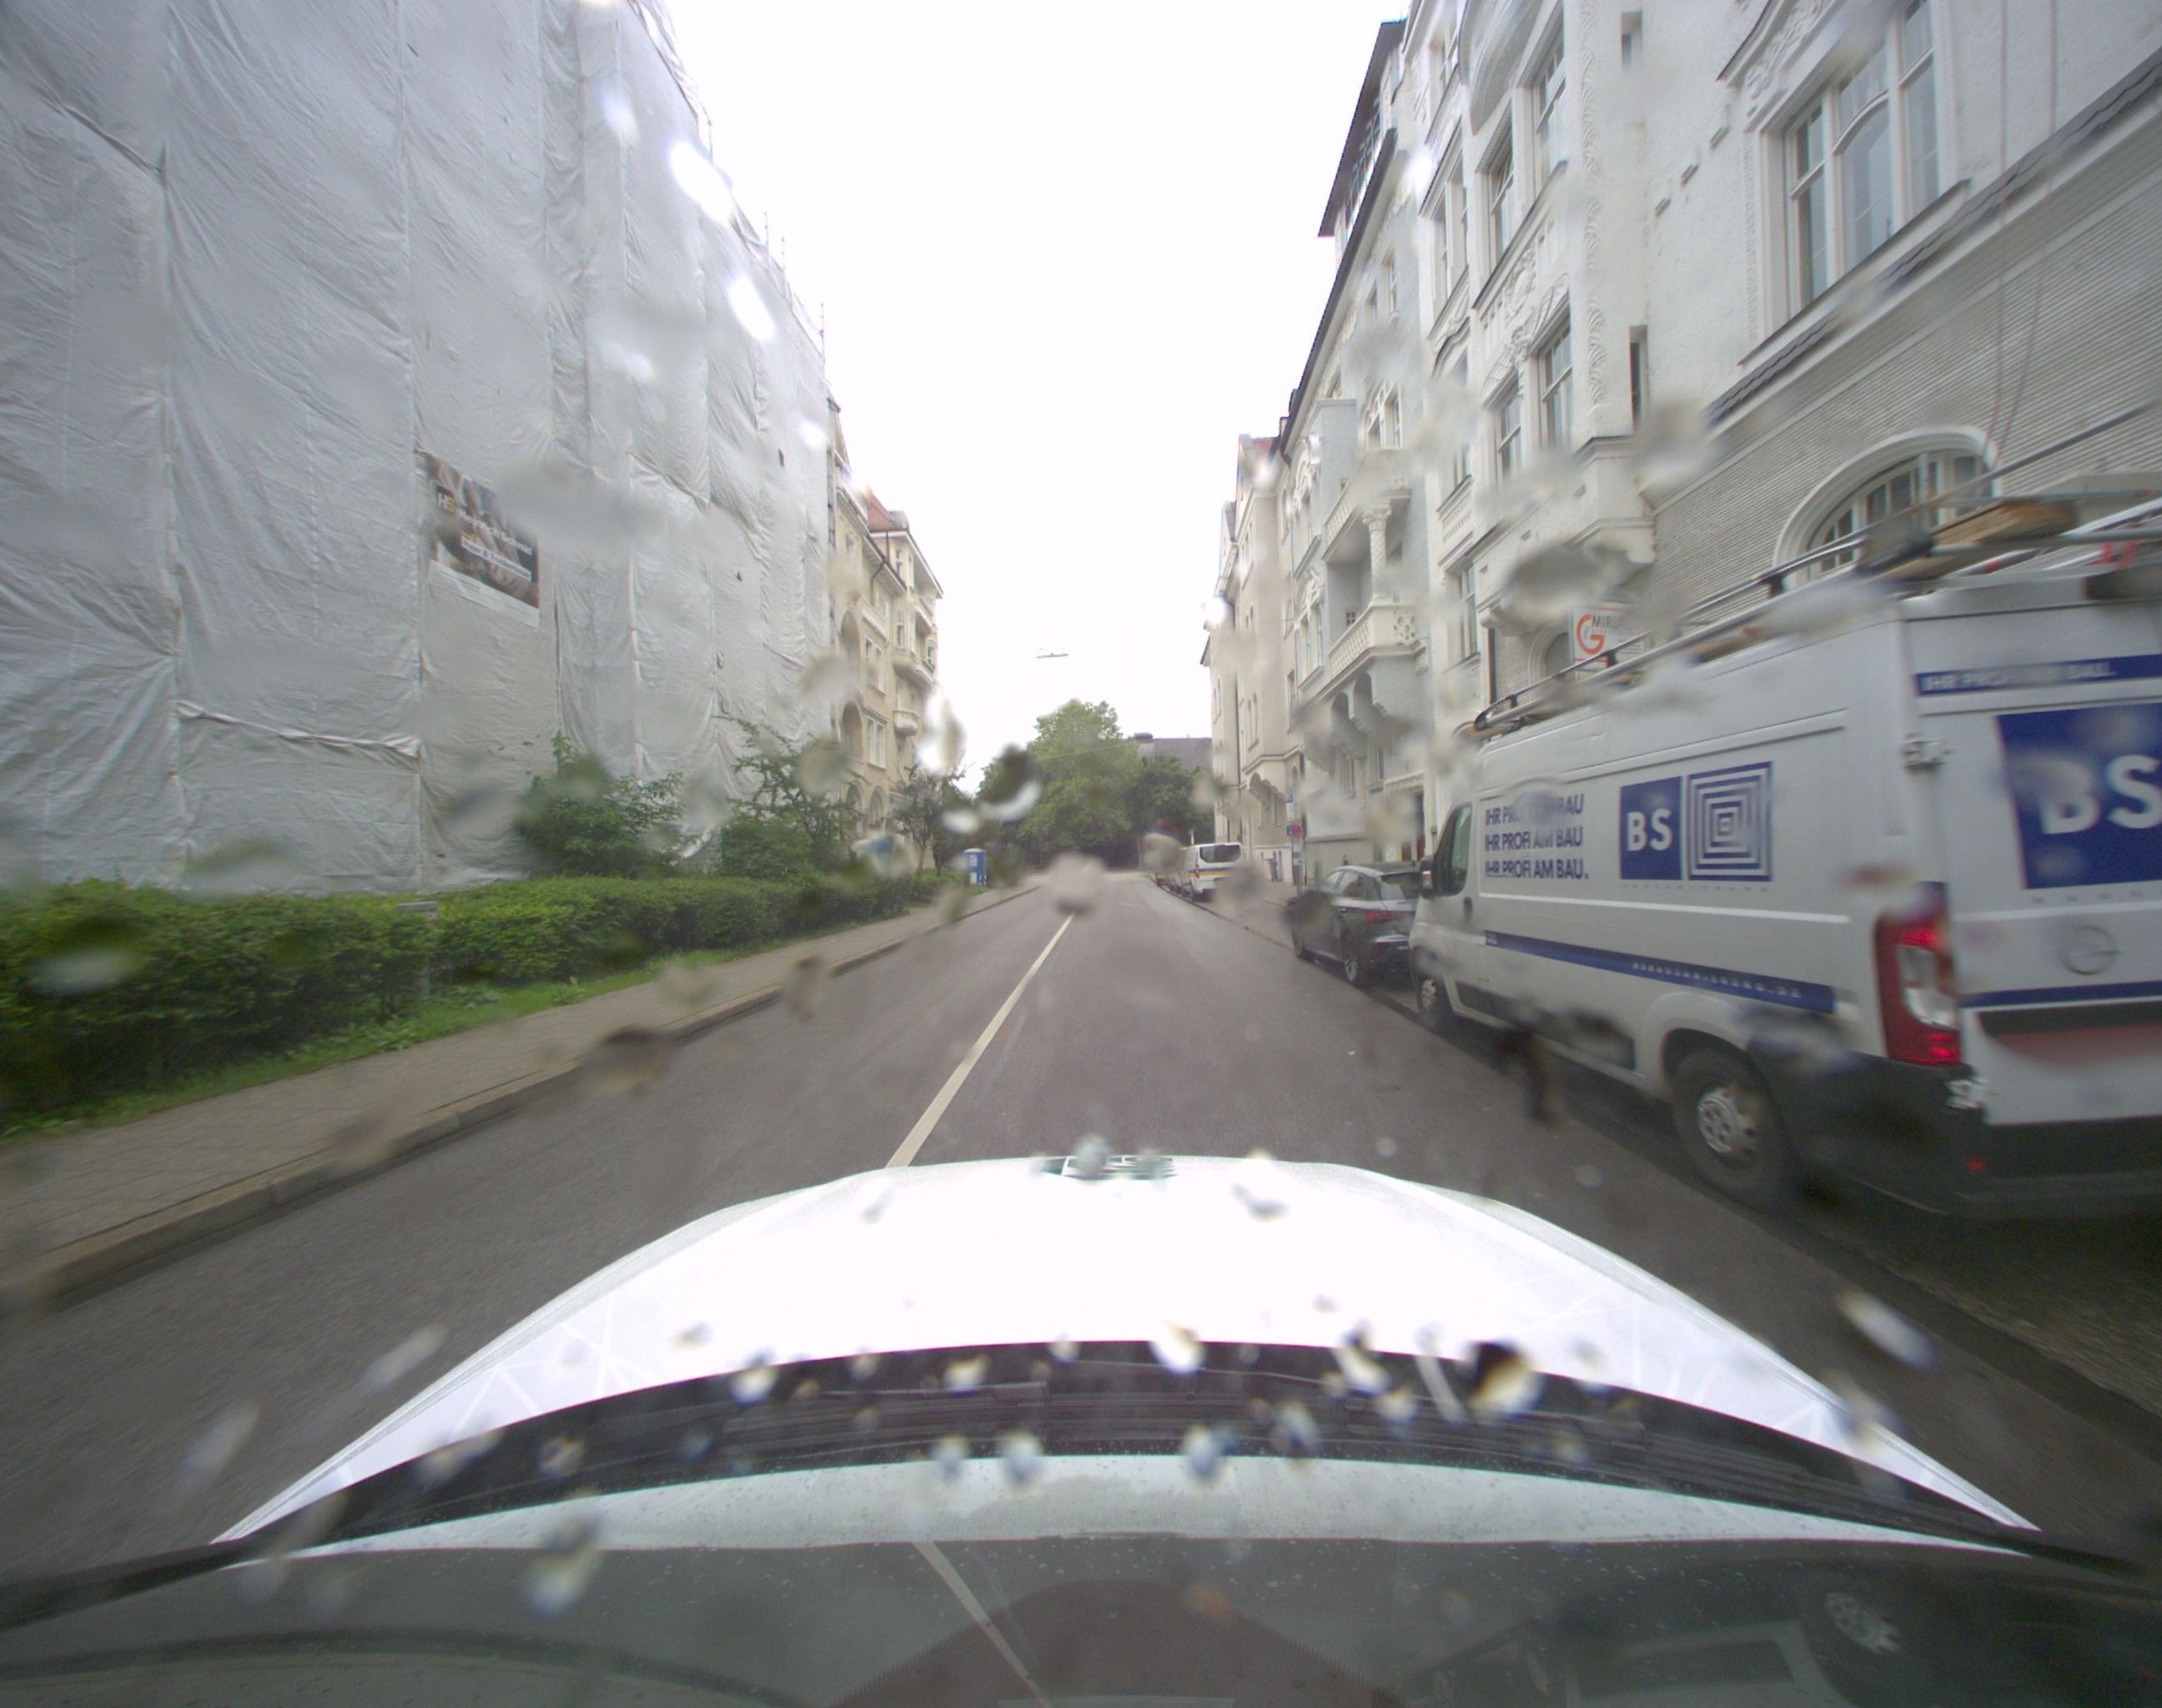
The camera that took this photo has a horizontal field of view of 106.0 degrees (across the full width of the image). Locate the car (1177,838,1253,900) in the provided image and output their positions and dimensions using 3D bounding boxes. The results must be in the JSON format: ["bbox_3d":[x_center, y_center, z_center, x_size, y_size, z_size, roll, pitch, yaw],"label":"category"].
[{"bbox_3d":[4.814,0.523,29.992,1.953,2.013,4.993,-2,0,1],"label":"car"}]

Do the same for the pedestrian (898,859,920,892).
[{"bbox_3d":[-9.315,1.172,44.139,0.910,1.751,0.948,-2,-1,2],"label":"pedestrian"}]

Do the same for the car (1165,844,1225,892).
[{"bbox_3d":[4.969,0.594,36.191,1.953,1.937,4.993,-2,0,1],"label":"car"}]

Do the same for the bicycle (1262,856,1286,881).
[{"bbox_3d":[9.390,0.692,39.697,0.691,1.093,2.038,-4,0,3],"label":"bicycle"}]

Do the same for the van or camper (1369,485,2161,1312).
[{"bbox_3d":[3.766,0.142,5.343,1.946,2.637,5.461,-2,-1,2],"label":"van or camper"}]

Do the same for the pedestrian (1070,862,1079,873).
[{"bbox_3d":[-0.706,1.487,88.679,0.807,1.189,0.921,-2,-1,8],"label":"pedestrian"}]

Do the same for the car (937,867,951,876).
[{"bbox_3d":[-23.578,3.006,140.197,1.891,1.571,4.069,-2,-1,-3],"label":"car"}]

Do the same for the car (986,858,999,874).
[{"bbox_3d":[-14.579,1.935,134.315,2.040,2.558,5.234,-2,0,-7],"label":"car"}]

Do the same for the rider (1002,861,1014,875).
[{"bbox_3d":[-9.257,1.753,103.450,1.075,1.667,1.143,-5,-1,10],"label":"rider"}]

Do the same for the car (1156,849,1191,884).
[{"bbox_3d":[5.334,0.704,47.379,1.841,1.853,4.827,-2,0,5],"label":"car"}]

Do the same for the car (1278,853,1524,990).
[{"bbox_3d":[4.008,0.753,11.003,1.747,1.434,4.088,-2,-1,1],"label":"car"}]

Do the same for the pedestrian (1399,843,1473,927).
[{"bbox_3d":[7.018,0.615,16.140,0.917,1.555,1.017,-4,-2,2],"label":"pedestrian"}]
